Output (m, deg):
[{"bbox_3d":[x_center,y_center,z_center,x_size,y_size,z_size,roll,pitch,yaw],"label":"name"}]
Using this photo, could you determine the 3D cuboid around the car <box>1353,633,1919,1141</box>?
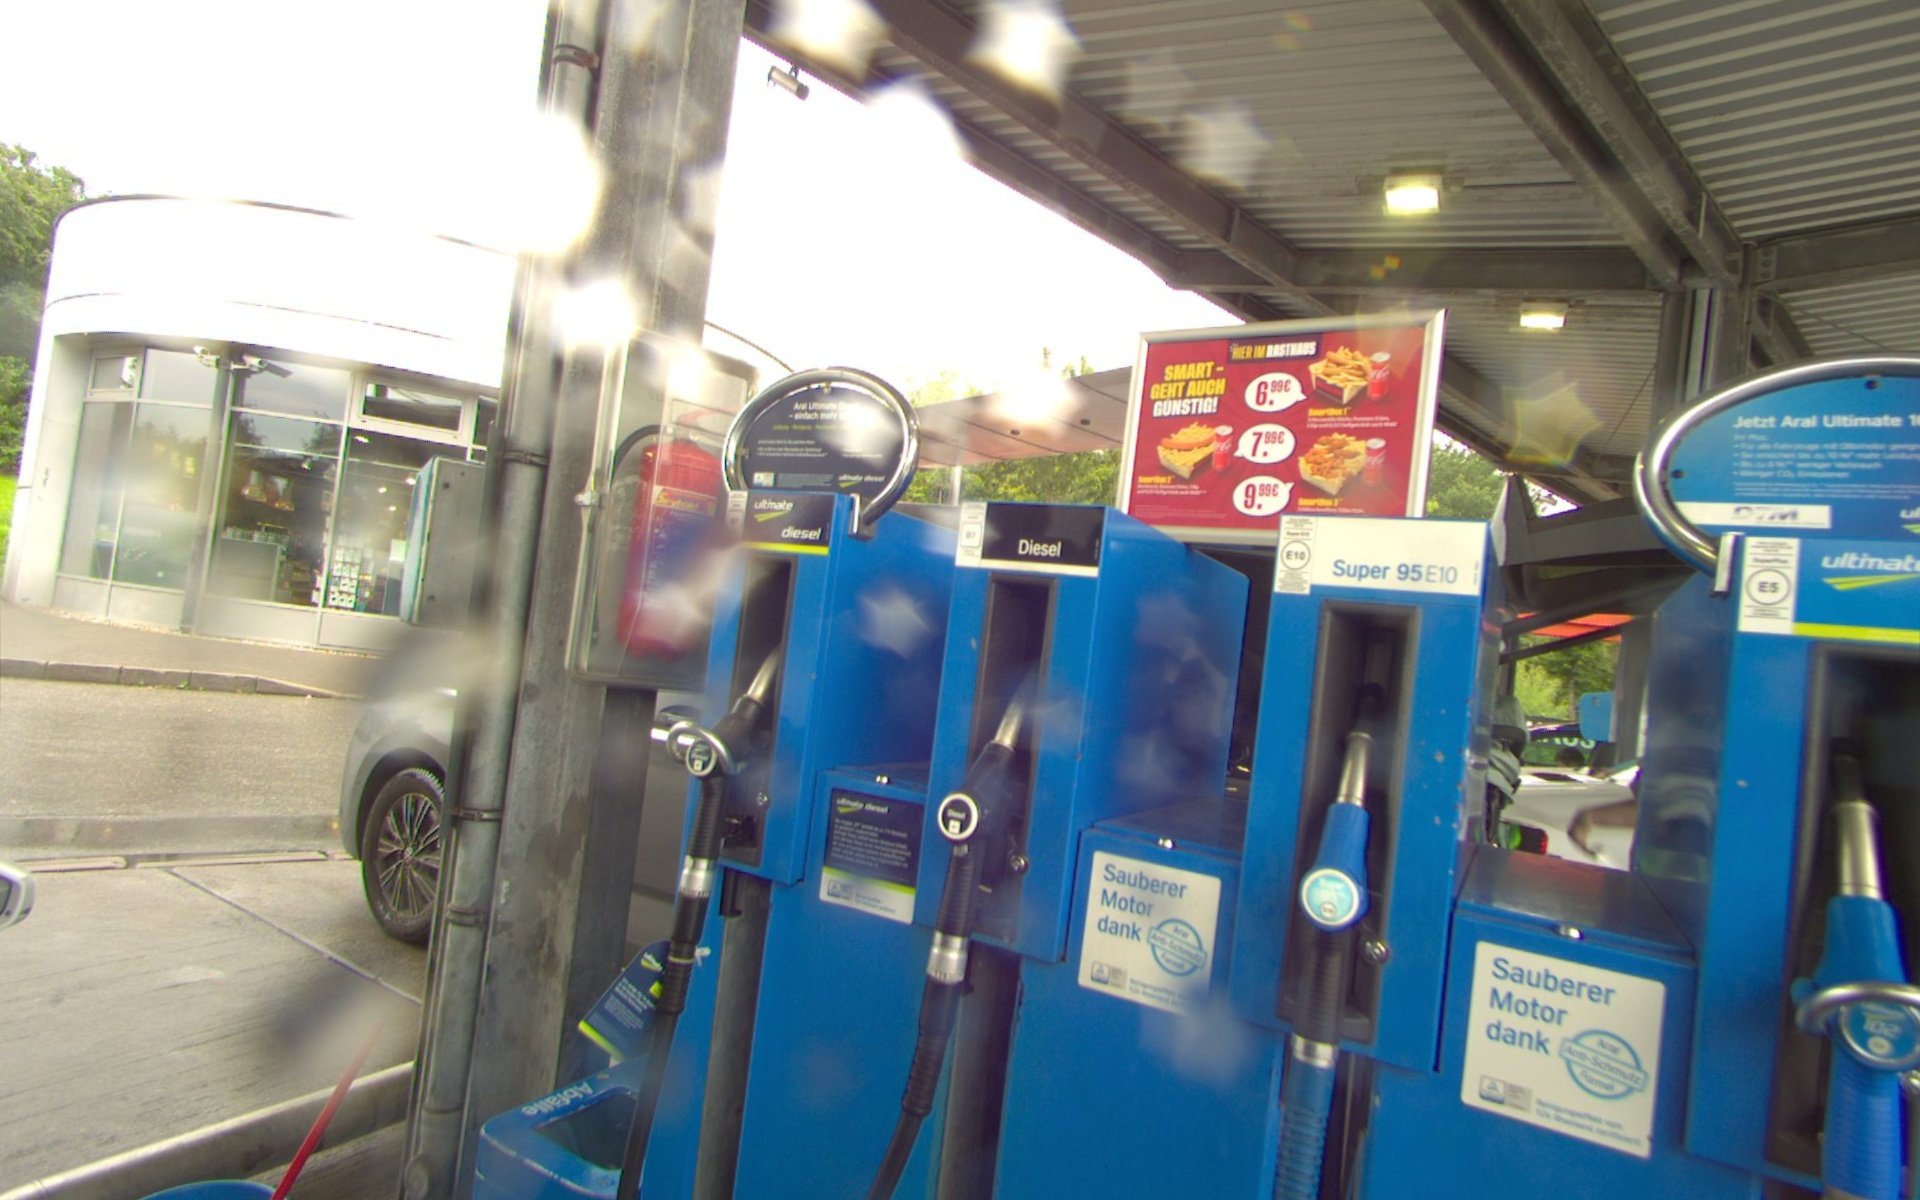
[{"bbox_3d":[4.494,1.371,4.817,4.464,1.819,1.865,6,-2,32],"label":"car"}]

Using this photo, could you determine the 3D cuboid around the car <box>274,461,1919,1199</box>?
[{"bbox_3d":[-0.142,0.645,3.674,5.055,1.819,1.865,6,-2,32],"label":"car"}]
